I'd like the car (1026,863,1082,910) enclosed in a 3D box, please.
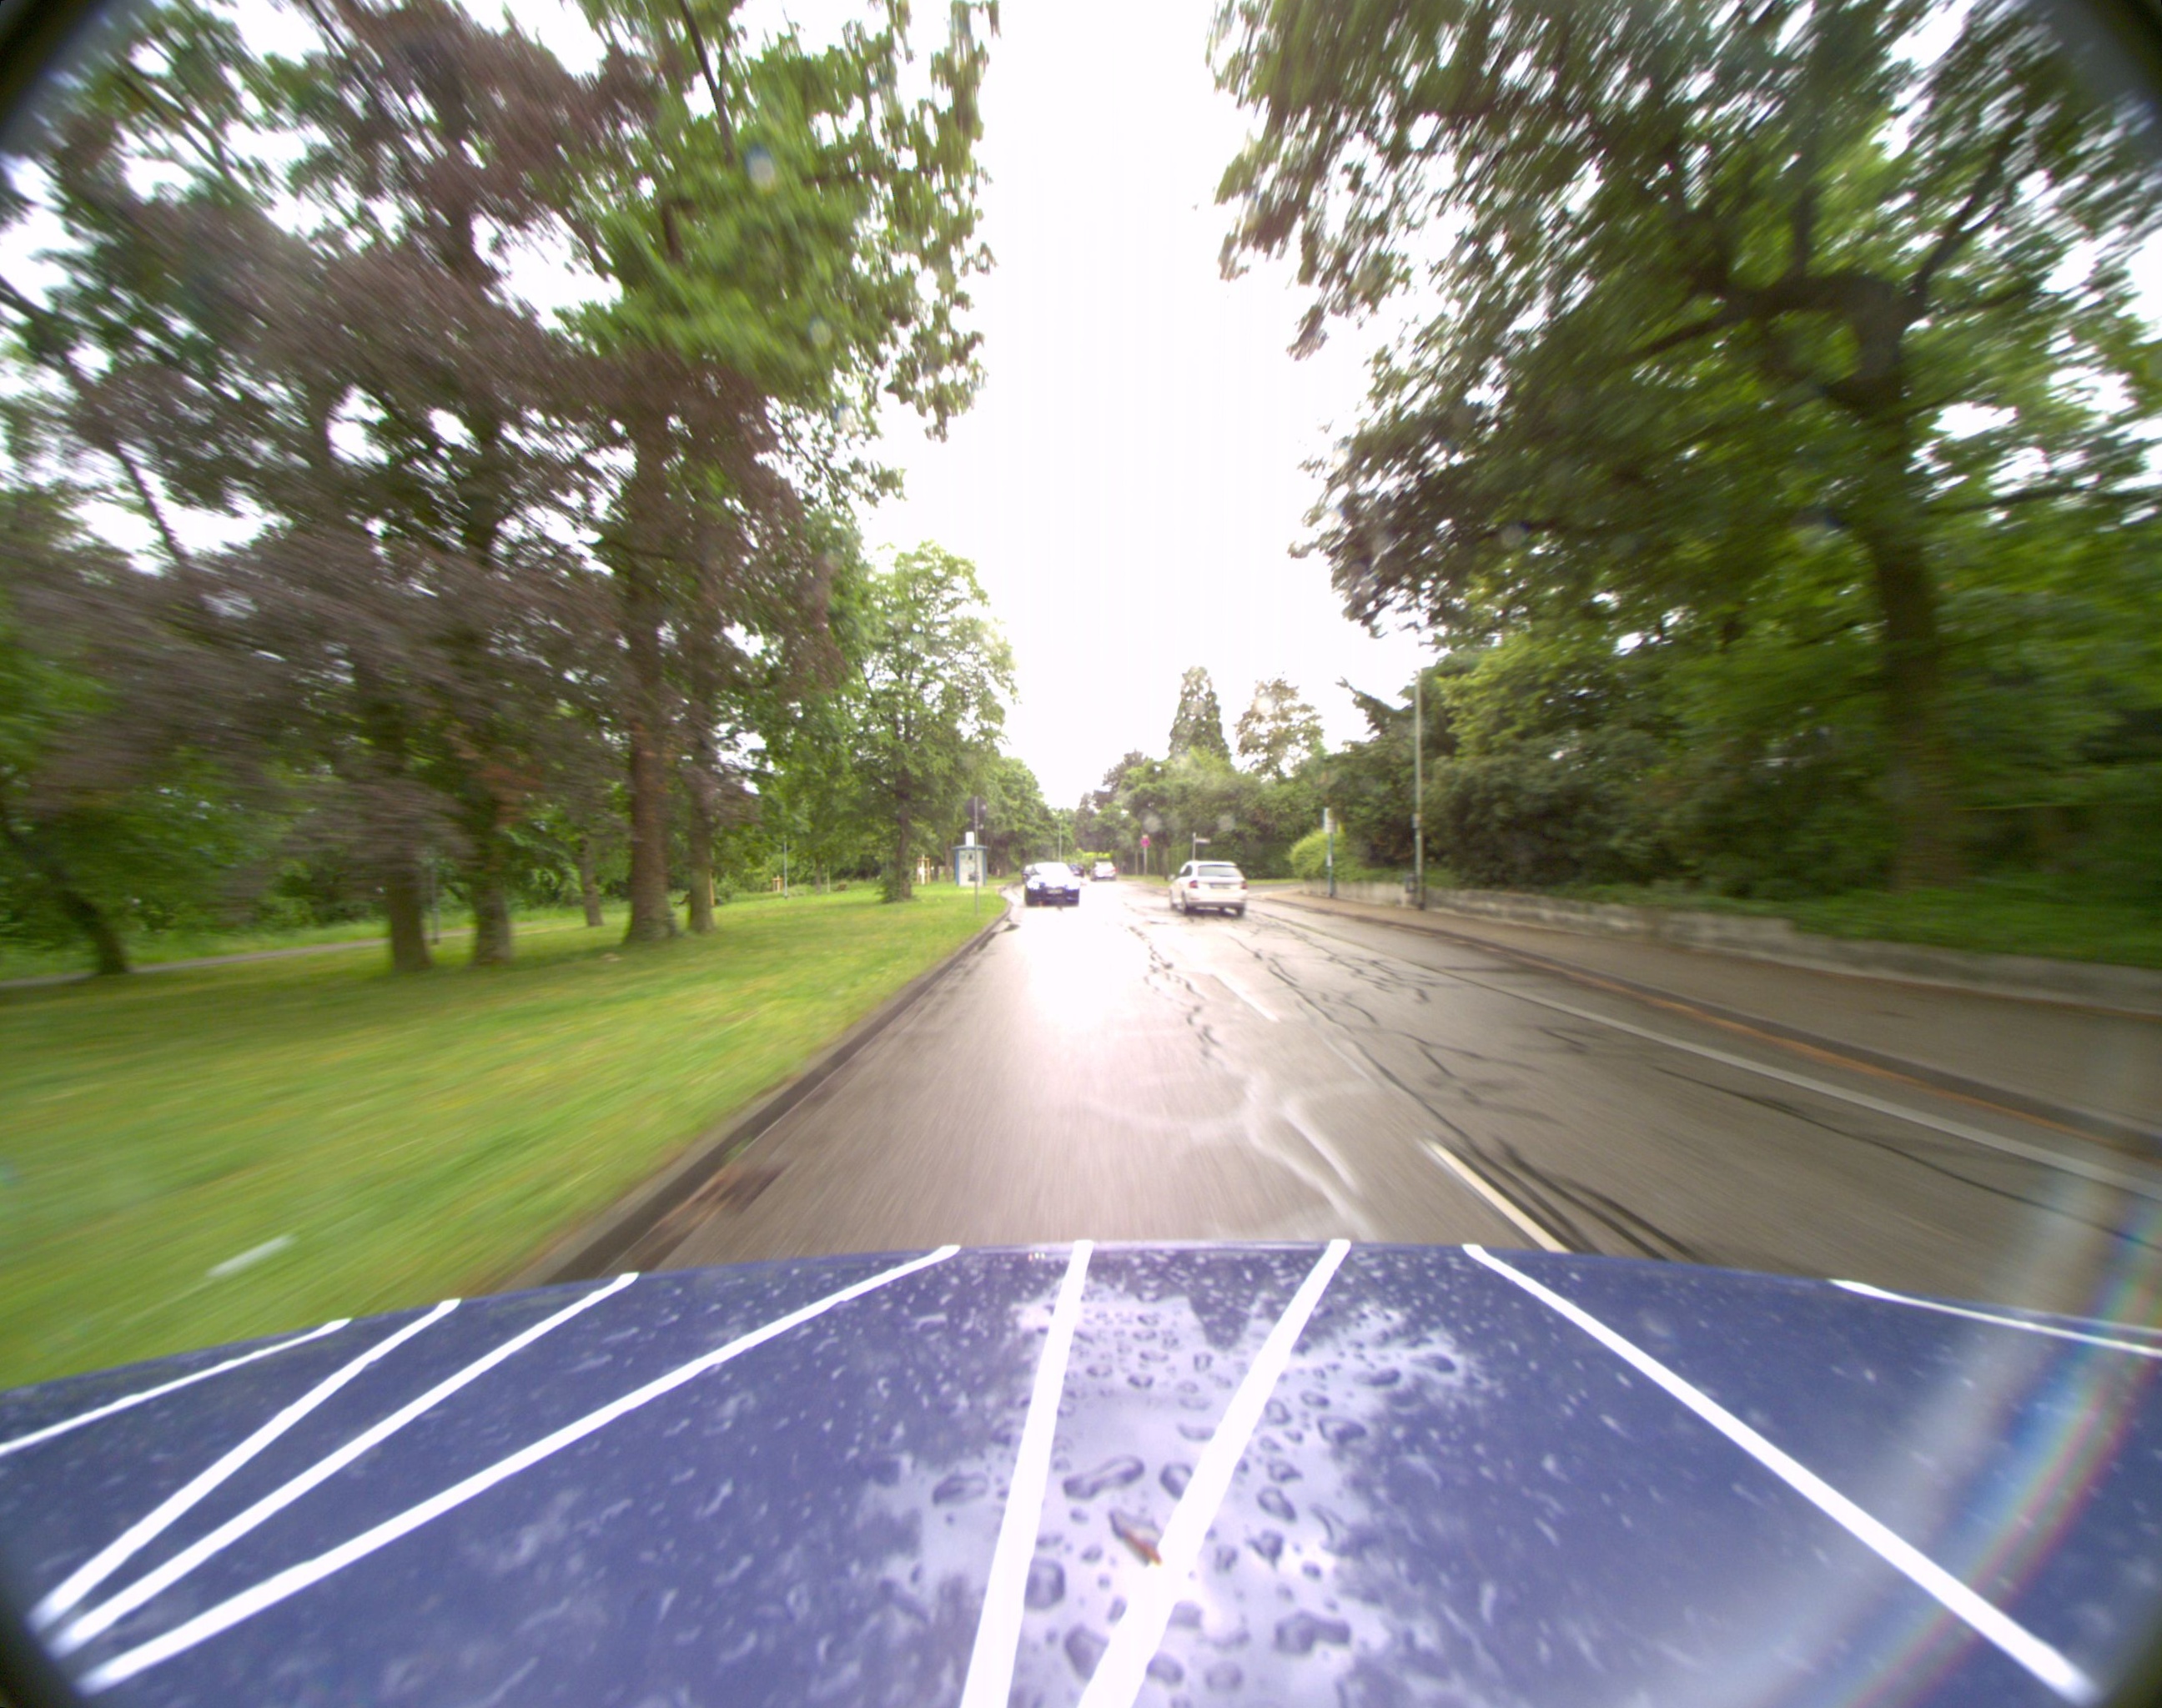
[{"bbox_3d":[-0.920,1.125,27.584,1.839,1.502,4.000,-1,0,-1],"label":"car"}]

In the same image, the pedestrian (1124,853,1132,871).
[{"bbox_3d":[4.756,0.811,76.898,0.713,1.820,0.881,-2,0,1],"label":"pedestrian"}]

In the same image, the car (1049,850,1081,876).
[{"bbox_3d":[-0.934,0.555,46.403,1.839,1.502,4.000,-1,0,0],"label":"car"}]

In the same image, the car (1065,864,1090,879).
[{"bbox_3d":[-0.407,1.886,83.102,2.000,1.568,3.996,-1,0,-11],"label":"car"}]

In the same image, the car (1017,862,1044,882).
[{"bbox_3d":[-3.948,1.387,59.681,1.839,1.502,4.000,-1,0,-1],"label":"car"}]

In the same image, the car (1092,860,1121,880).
[{"bbox_3d":[1.924,1.224,58.431,1.795,1.414,4.358,1,0,-3],"label":"car"}]

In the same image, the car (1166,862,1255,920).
[{"bbox_3d":[3.545,0.964,21.467,1.705,1.402,4.008,1,0,-2],"label":"car"}]
